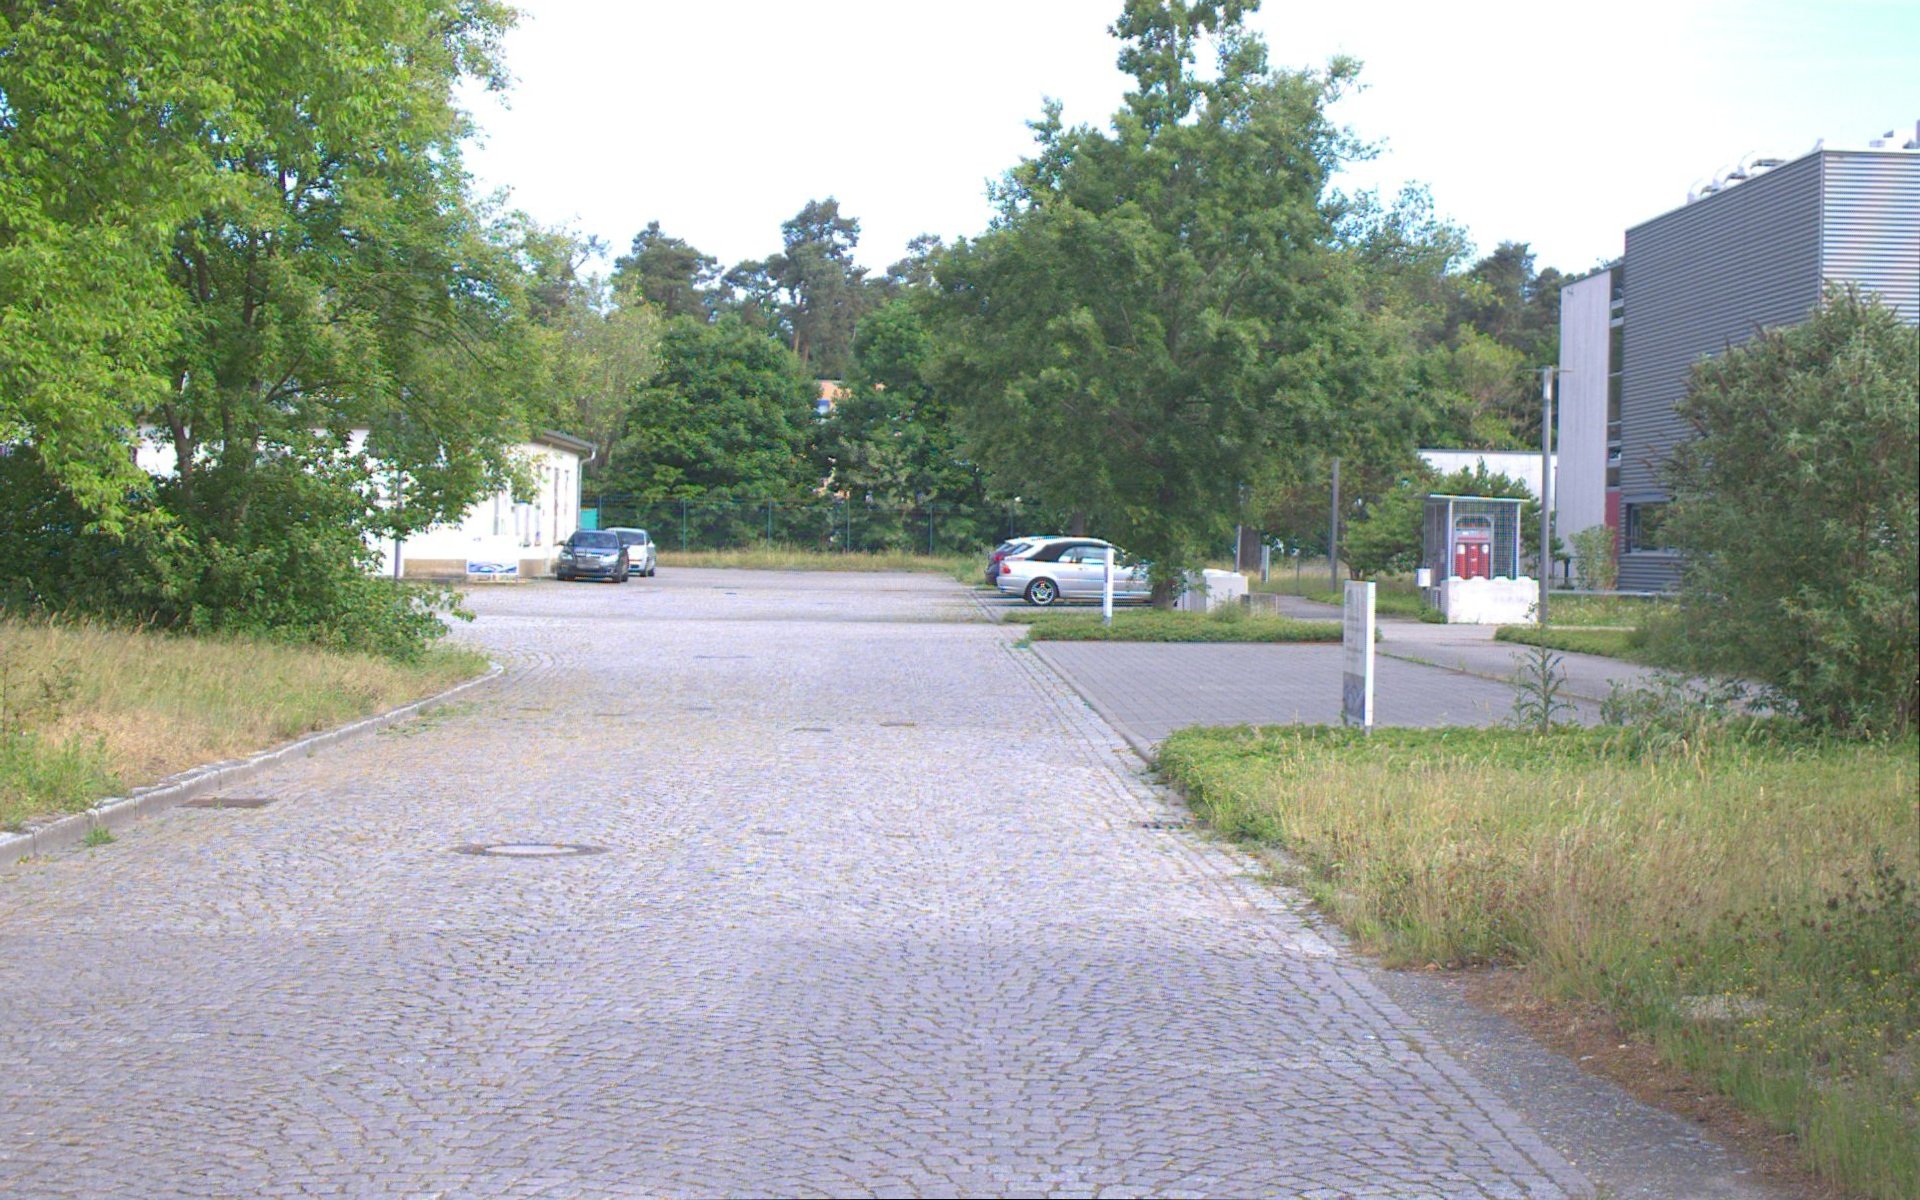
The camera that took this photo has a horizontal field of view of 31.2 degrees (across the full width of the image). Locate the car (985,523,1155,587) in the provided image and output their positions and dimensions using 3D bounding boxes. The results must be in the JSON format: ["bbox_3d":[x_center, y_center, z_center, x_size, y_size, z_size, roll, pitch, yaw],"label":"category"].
[{"bbox_3d":[2.625,-1.084,82.666,3.984,1.470,1.653,-1,1,0],"label":"car"}]

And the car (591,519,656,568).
[{"bbox_3d":[-10.426,-1.749,106.603,1.647,1.453,3.998,1,1,-1],"label":"car"}]

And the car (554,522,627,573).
[{"bbox_3d":[-10.338,-1.482,96.263,1.647,1.364,3.998,2,1,-1],"label":"car"}]

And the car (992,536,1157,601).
[{"bbox_3d":[2.471,-0.686,74.843,3.522,1.357,1.622,-1,1,0],"label":"car"}]

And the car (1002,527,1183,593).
[{"bbox_3d":[2.962,-0.910,77.539,3.984,1.443,1.653,-1,1,0],"label":"car"}]
